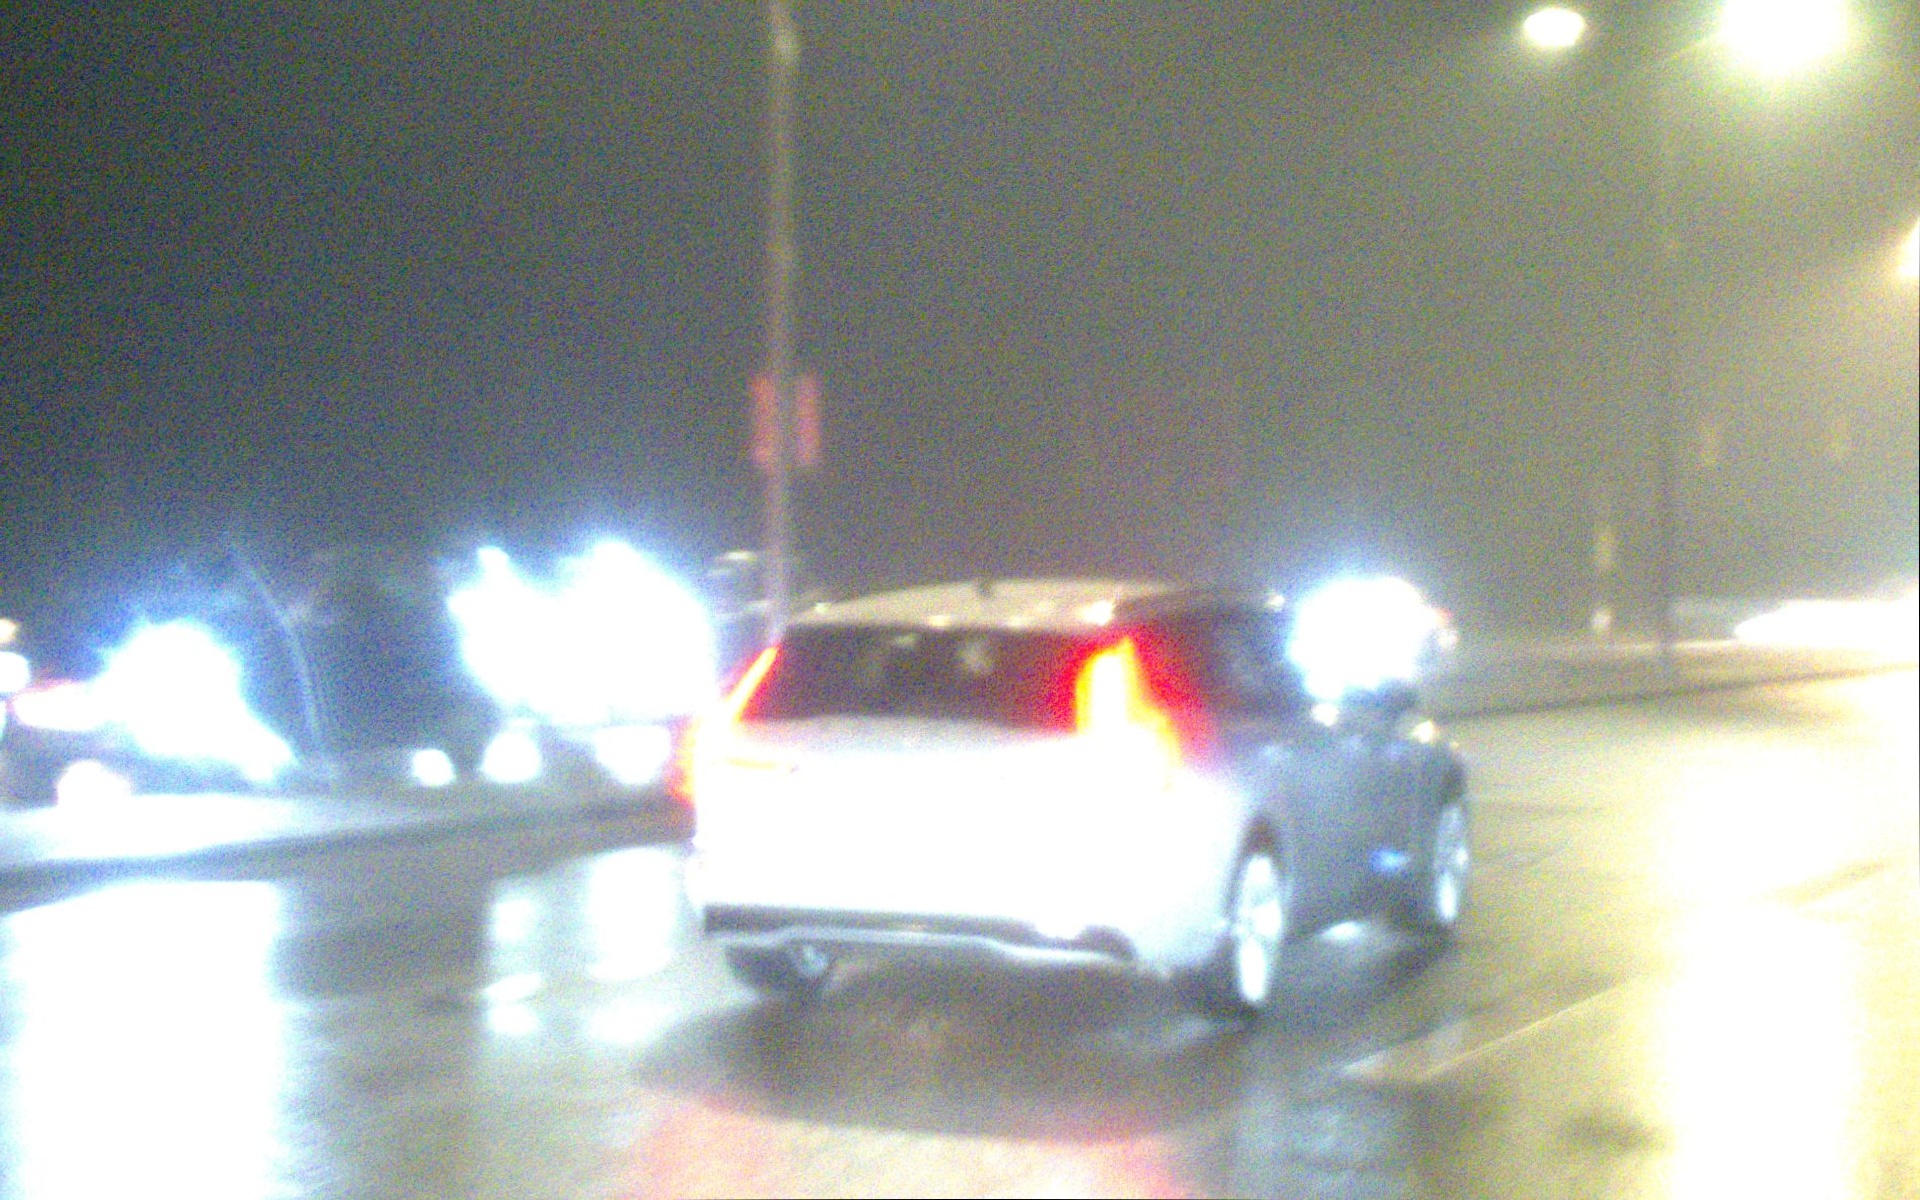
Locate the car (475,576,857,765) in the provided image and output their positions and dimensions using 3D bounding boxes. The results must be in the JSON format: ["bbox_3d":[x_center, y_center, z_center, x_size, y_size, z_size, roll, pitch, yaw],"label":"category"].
[{"bbox_3d":[-2.845,0.680,34.365,1.801,1.660,4.482,3,1,24],"label":"car"}]

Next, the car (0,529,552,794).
[{"bbox_3d":[-4.587,0.376,22.810,1.815,1.572,4.300,0,0,23],"label":"car"}]

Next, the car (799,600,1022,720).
[{"bbox_3d":[-0.659,0.825,49.187,1.495,1.597,4.140,2,0,25],"label":"car"}]

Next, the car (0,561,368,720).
[{"bbox_3d":[-7.462,0.370,32.318,1.762,1.372,4.034,1,0,24],"label":"car"}]

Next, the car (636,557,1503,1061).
[{"bbox_3d":[0.608,0.616,12.613,1.798,1.447,4.264,2,1,21],"label":"car"}]

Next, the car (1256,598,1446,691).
[{"bbox_3d":[7.181,0.819,62.819,1.886,1.525,4.424,3,1,28],"label":"car"}]
